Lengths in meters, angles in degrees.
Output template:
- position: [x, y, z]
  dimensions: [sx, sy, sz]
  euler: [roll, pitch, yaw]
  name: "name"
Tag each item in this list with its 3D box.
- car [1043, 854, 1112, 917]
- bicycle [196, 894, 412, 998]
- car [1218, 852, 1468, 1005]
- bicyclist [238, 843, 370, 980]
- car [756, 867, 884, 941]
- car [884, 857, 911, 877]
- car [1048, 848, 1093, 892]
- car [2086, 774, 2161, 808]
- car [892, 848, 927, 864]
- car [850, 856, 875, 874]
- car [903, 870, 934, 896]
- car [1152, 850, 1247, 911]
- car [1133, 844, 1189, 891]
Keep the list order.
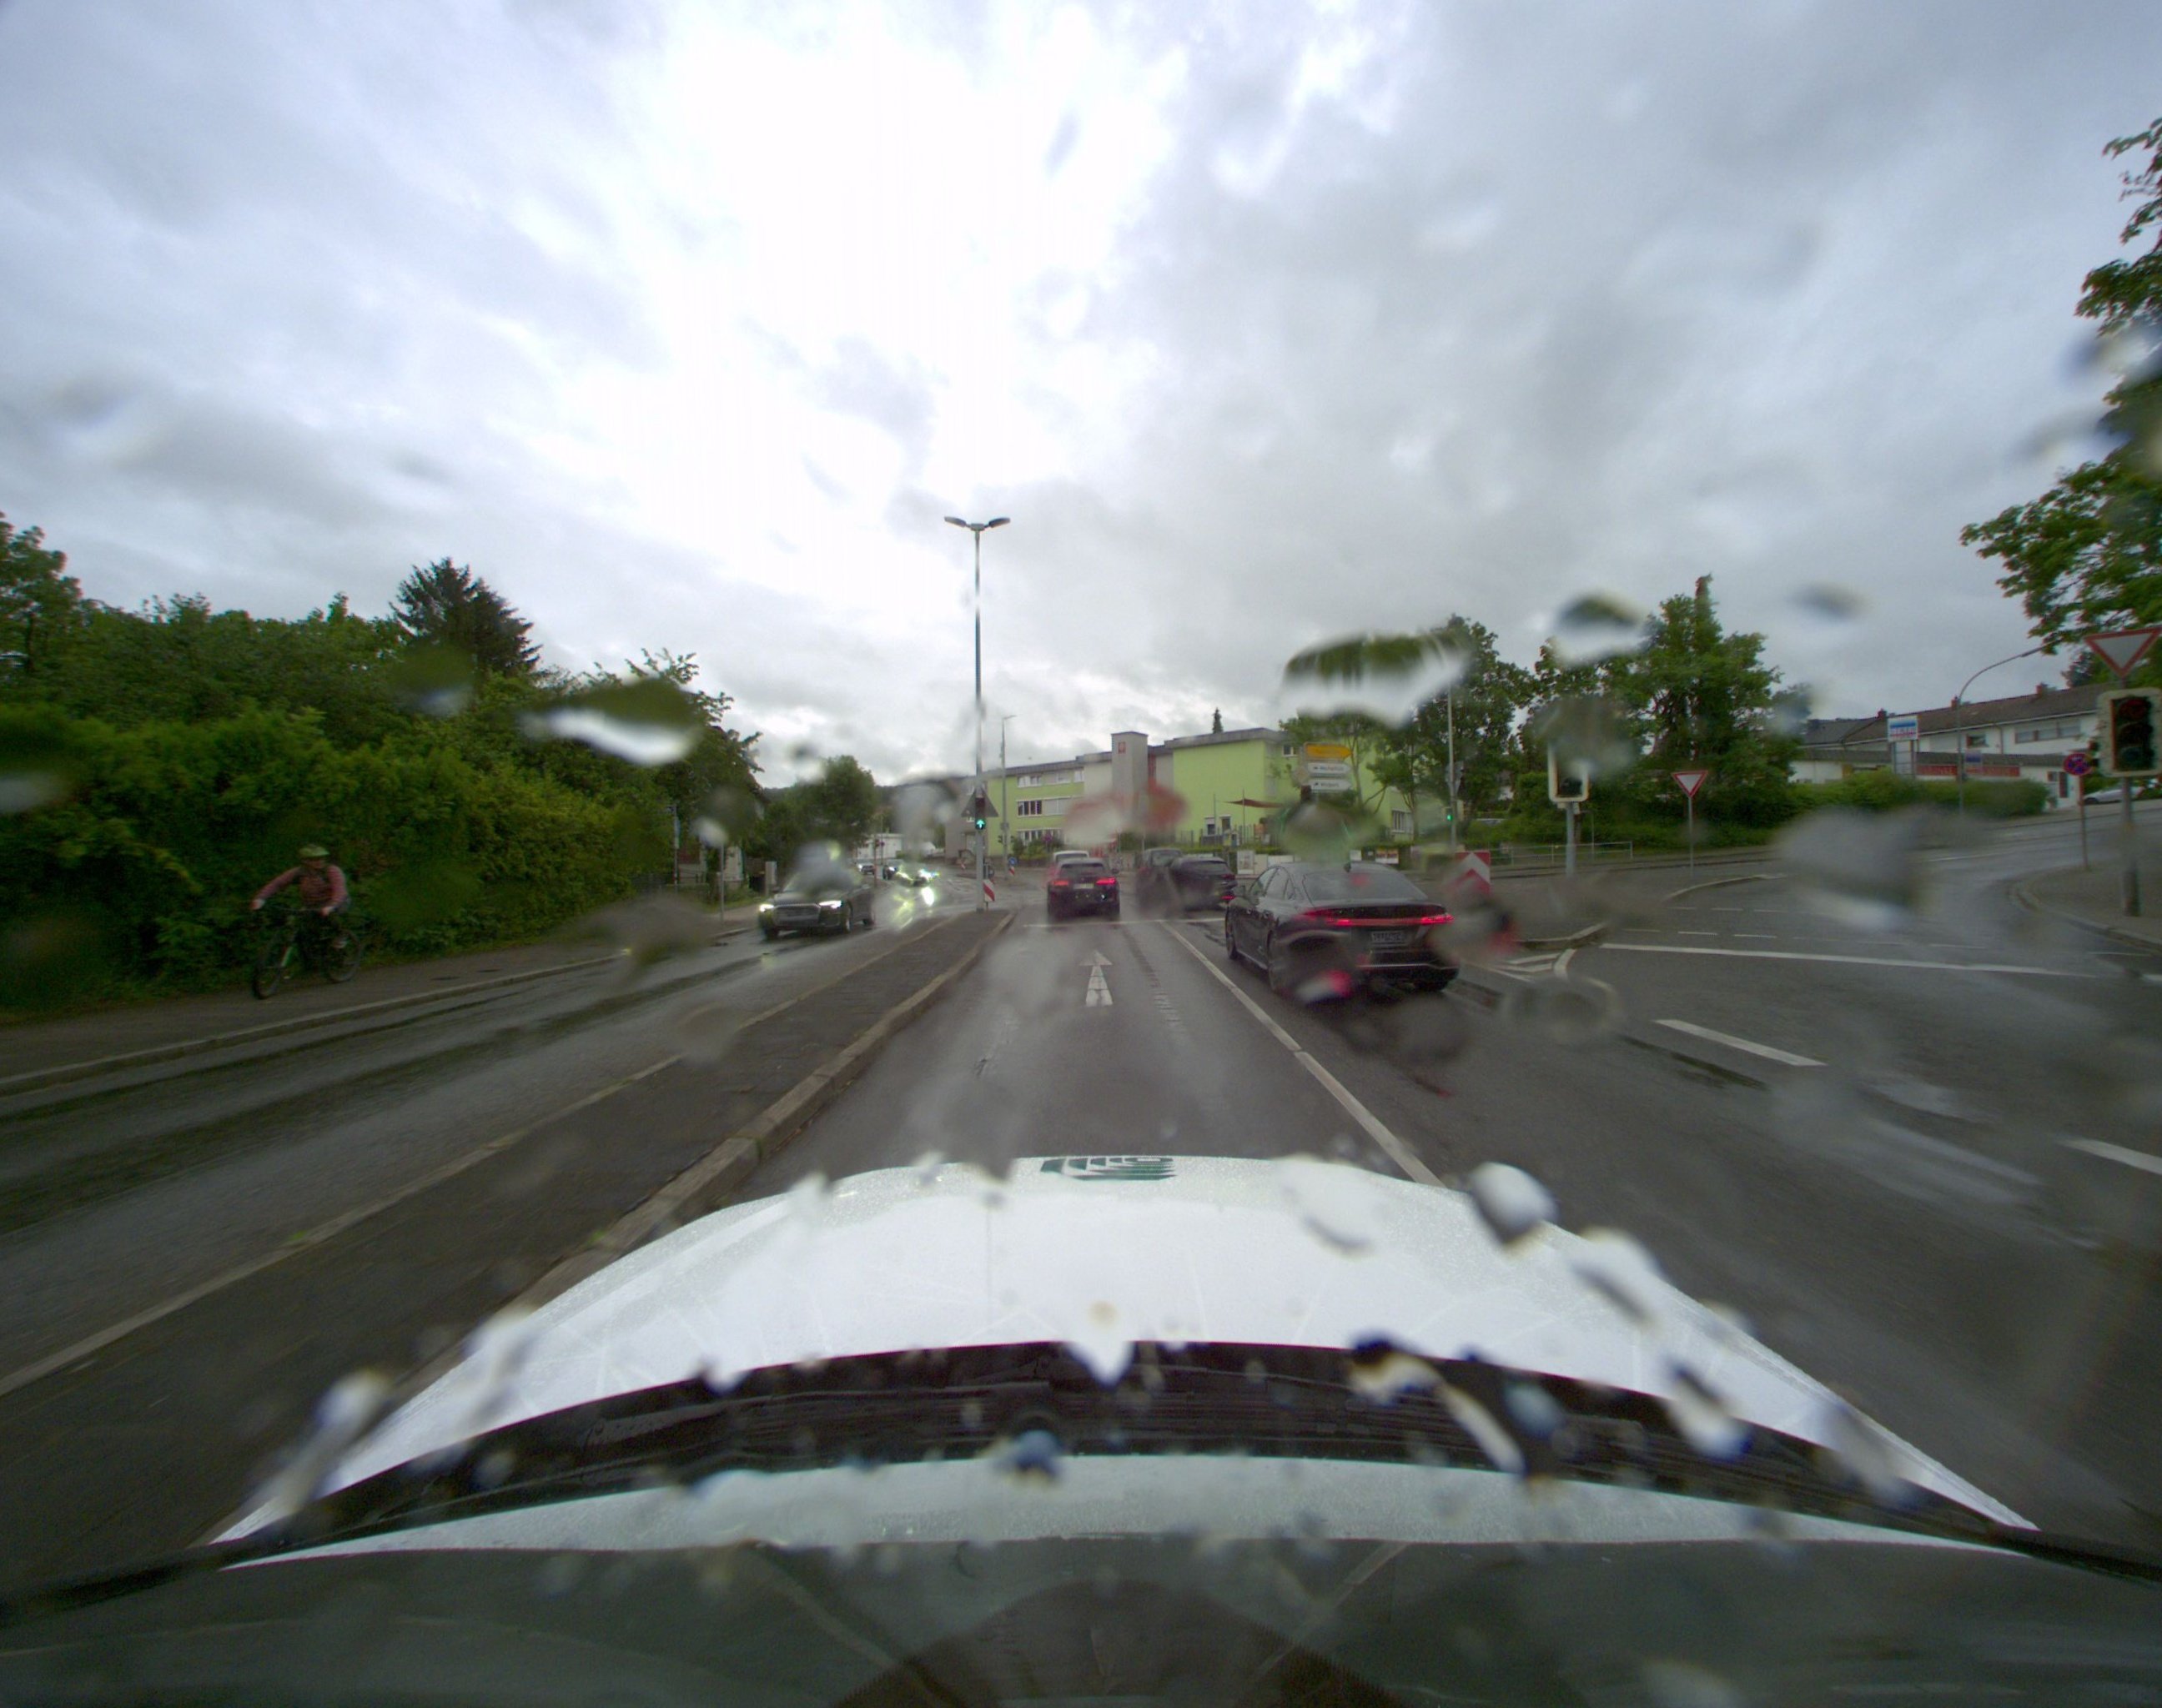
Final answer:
- position: [-0.157, 0.791, 22.158]
  dimensions: [1.678, 1.506, 3.770]
  euler: [-2, 0, -3]
  name: "car"
- position: [-9.486, 1.075, 10.085]
  dimensions: [0.744, 1.086, 1.989]
  euler: [0, -1, 0]
  name: "bicycle"
- position: [2.906, 0.718, 10.107]
  dimensions: [1.700, 1.427, 4.509]
  euler: [-1, 0, 1]
  name: "car"
- position: [-9.512, 0.677, 10.010]
  dimensions: [0.762, 1.612, 0.868]
  euler: [0, 0, -1]
  name: "bicyclist"
- position: [-6.040, 1.090, 19.437]
  dimensions: [1.733, 1.437, 4.551]
  euler: [-3, 0, -3]
  name: "car"
- position: [-15.533, 1.051, 68.748]
  dimensions: [1.854, 1.564, 3.976]
  euler: [-2, 0, -17]
  name: "car"
- position: [-0.534, 0.662, 36.612]
  dimensions: [1.714, 1.844, 4.080]
  euler: [1, 0, -5]
  name: "car"
- position: [73.795, -4.434, 57.032]
  dimensions: [1.840, 1.816, 3.697]
  euler: [-3, -5, -18]
  name: "car"
- position: [-23.000, 0.271, 109.409]
  dimensions: [4.404, 1.772, 1.989]
  euler: [-3, 0, -16]
  name: "car"
- position: [-21.883, 1.109, 81.534]
  dimensions: [1.629, 1.581, 3.740]
  euler: [-3, 0, -27]
  name: "car"
- position: [-10.446, 1.841, 52.558]
  dimensions: [1.793, 1.489, 4.139]
  euler: [-3, 0, -10]
  name: "car"
- position: [3.216, 0.679, 22.921]
  dimensions: [1.846, 1.486, 4.082]
  euler: [-2, 0, -3]
  name: "car"
- position: [3.136, 0.490, 32.651]
  dimensions: [1.777, 1.734, 4.086]
  euler: [-2, 0, 0]
  name: "car"
